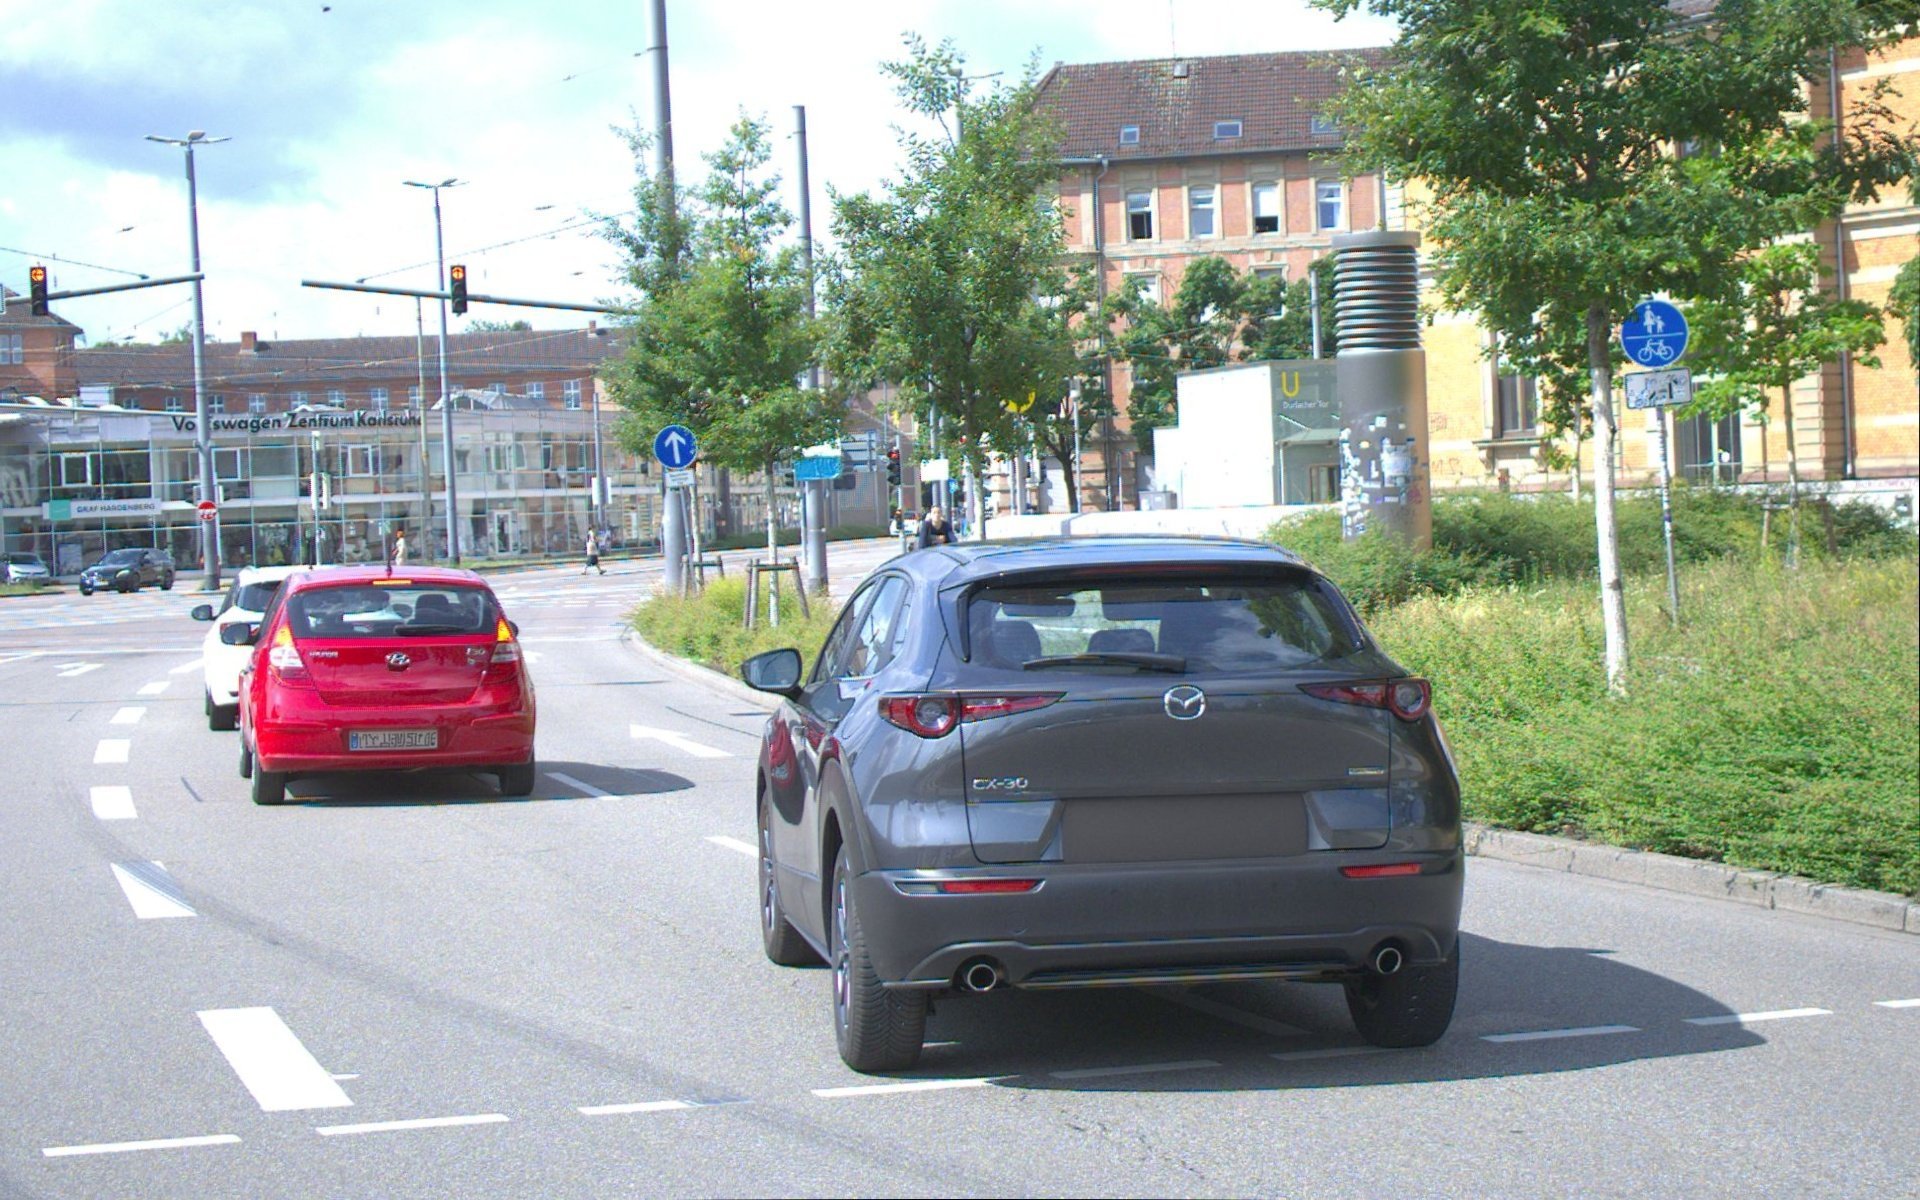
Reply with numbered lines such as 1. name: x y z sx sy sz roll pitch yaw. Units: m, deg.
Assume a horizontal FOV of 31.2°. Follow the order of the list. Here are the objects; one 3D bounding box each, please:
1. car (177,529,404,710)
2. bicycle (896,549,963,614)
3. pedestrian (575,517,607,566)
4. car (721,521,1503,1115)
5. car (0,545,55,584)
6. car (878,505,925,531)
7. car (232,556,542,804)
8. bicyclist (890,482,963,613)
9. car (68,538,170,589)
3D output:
1. car: -6.189 0.127 31.635 1.847 1.467 4.336 -3 2 -12
2. bicycle: -0.423 -0.255 46.399 0.625 0.808 1.789 -4 2 -8
3. pedestrian: -11.652 -1.854 108.601 0.673 1.530 0.674 -1 2 41
4. car: 0.270 0.549 11.137 1.805 1.503 4.206 -2 1 -7
5. car: -40.365 -1.551 148.468 1.993 1.590 4.001 -2 1 -21
6. car: -3.503 -4.913 206.678 1.994 1.437 3.998 -2 2 12
7. car: -3.791 0.452 22.736 1.816 1.434 4.068 -1 1 -10
8. bicyclist: -0.455 -0.710 46.363 0.735 1.696 0.965 -4 2 -8
9. car: -27.423 -1.199 112.255 1.994 1.524 4.000 -2 1 5
